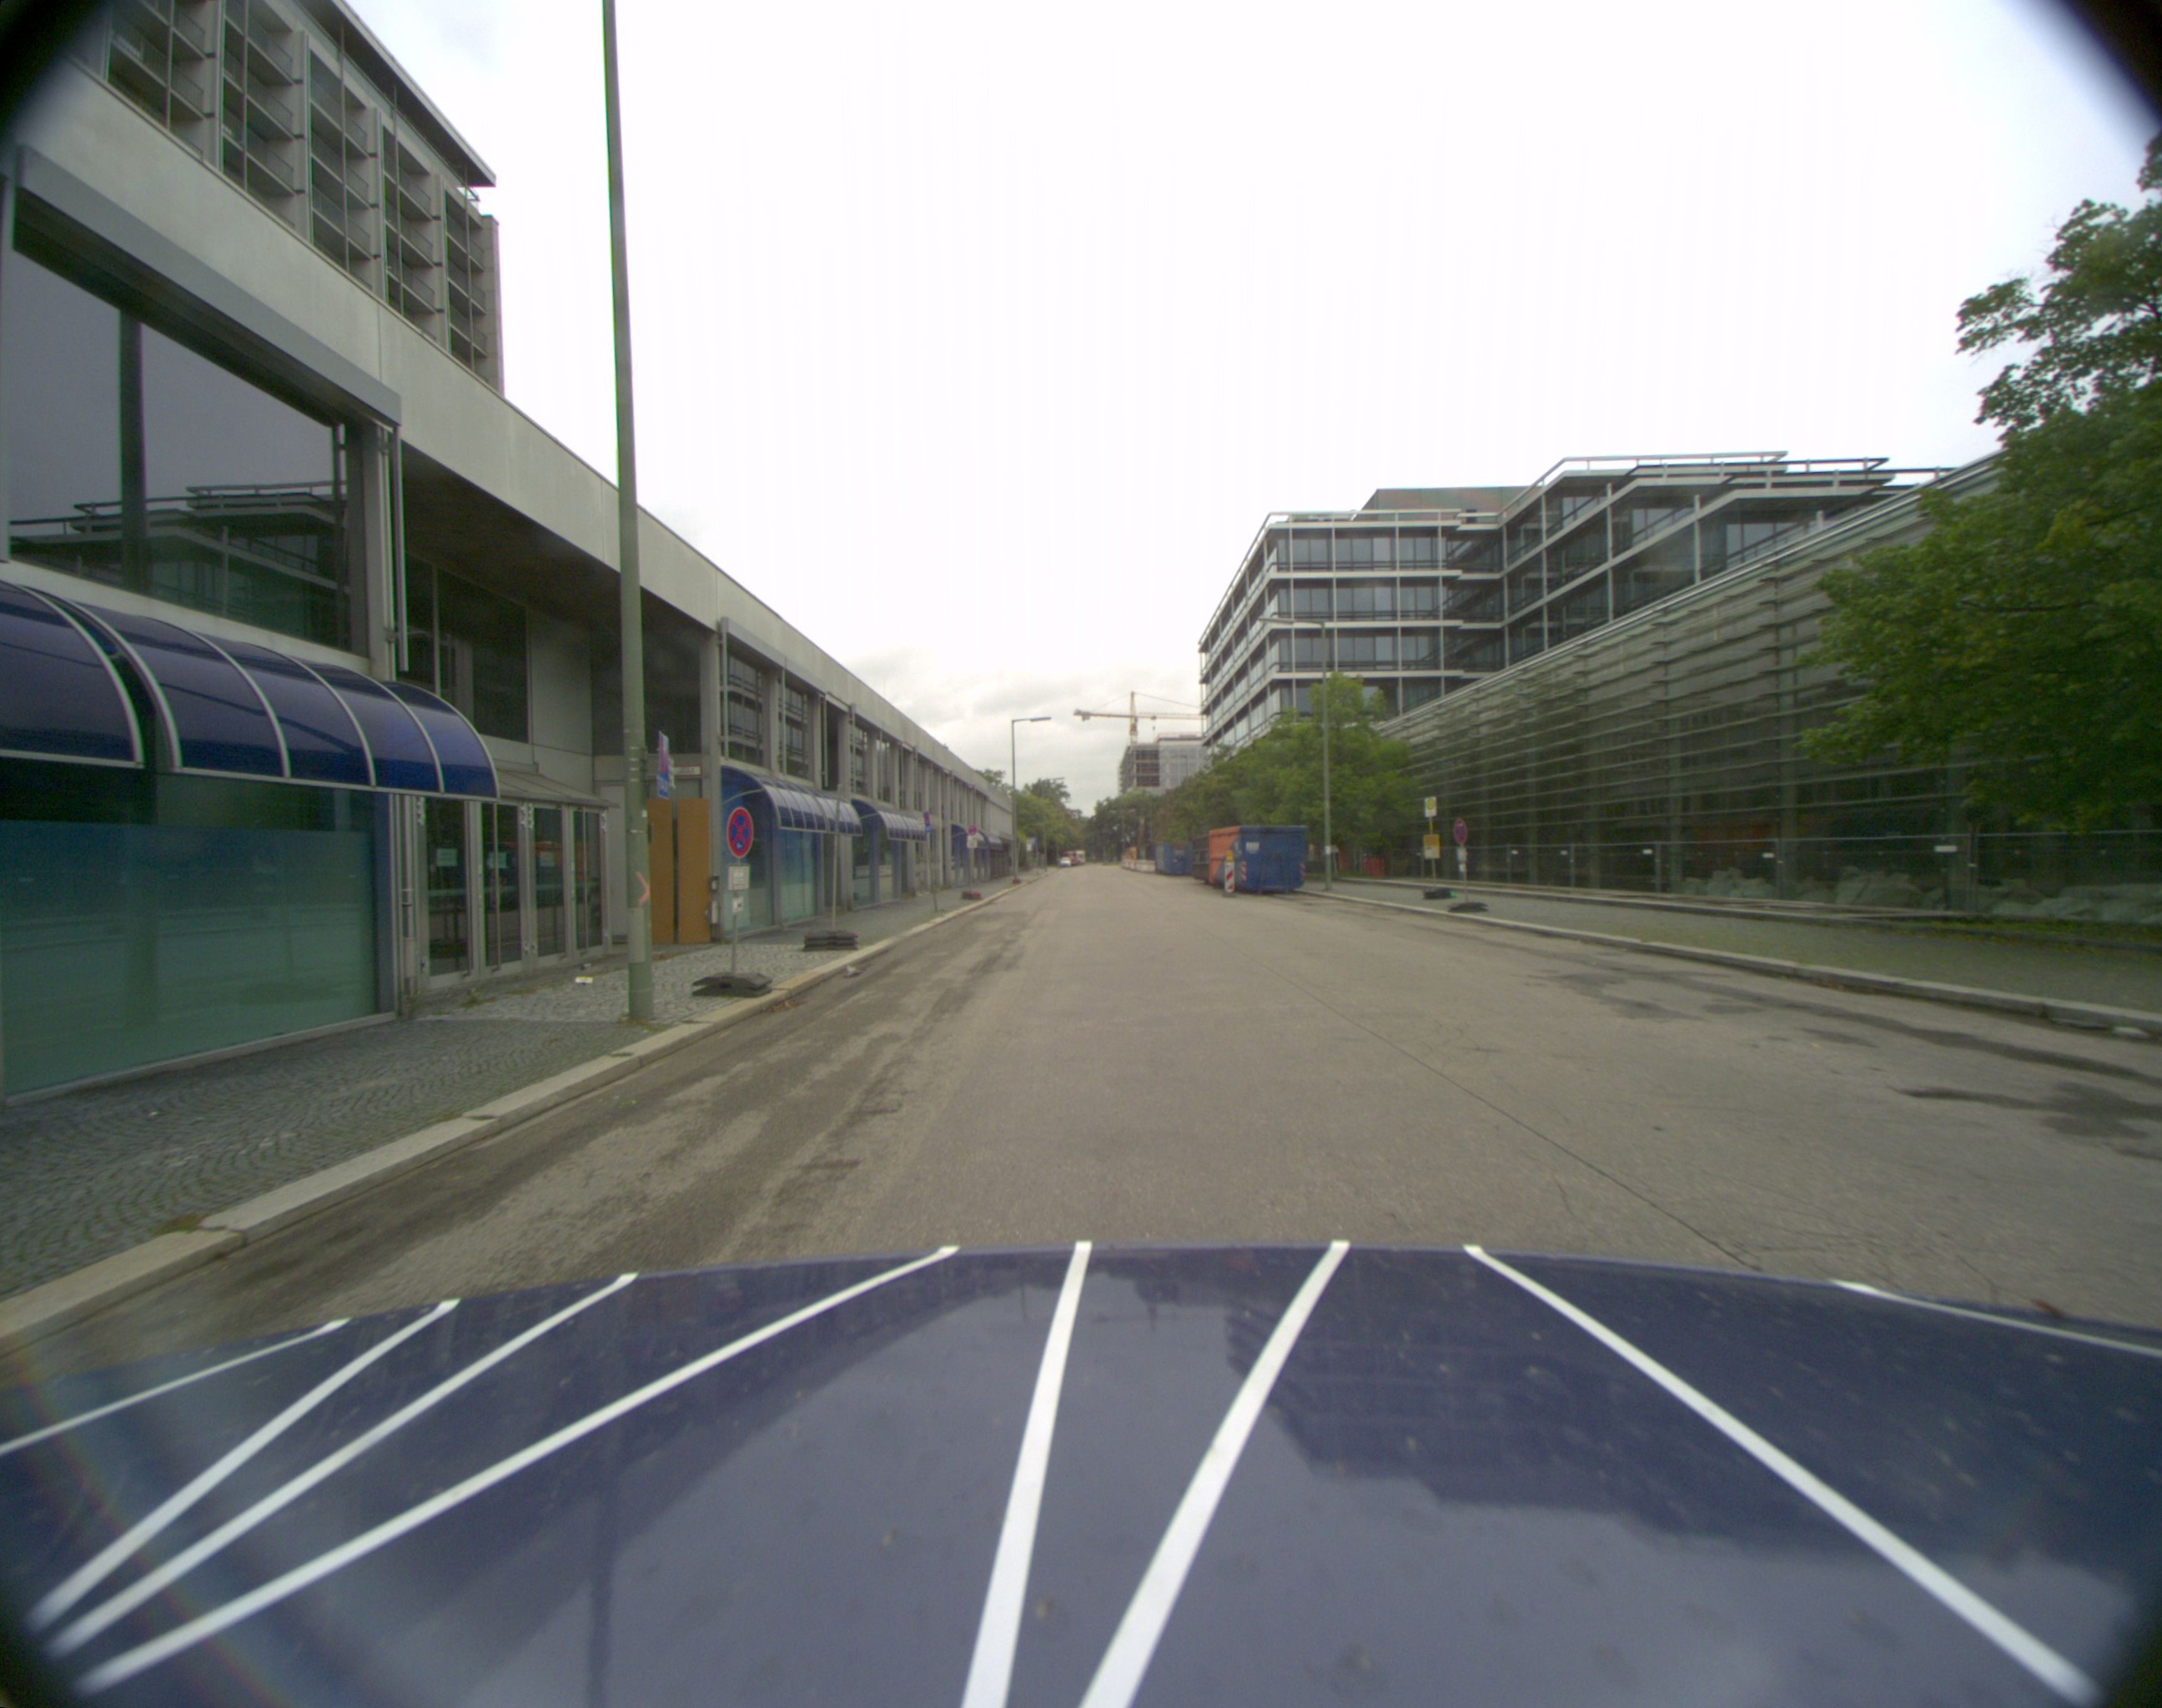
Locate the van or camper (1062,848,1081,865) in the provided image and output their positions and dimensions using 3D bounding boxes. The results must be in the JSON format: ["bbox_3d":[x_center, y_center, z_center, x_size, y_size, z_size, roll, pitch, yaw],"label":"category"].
[{"bbox_3d":[-1.518,0.434,127.276,2.666,2.751,6.916,-1,0,4],"label":"van or camper"}]

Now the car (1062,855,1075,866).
[{"bbox_3d":[-1.953,1.016,121.005,1.912,1.627,4.000,-1,0,2],"label":"car"}]

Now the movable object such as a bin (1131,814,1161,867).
[{"bbox_3d":[8.049,-1.661,94.944,3.241,6.285,8.337,-1,0,3],"label":"movable object such as a bin"}]

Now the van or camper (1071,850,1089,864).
[{"bbox_3d":[-0.190,0.516,141.571,2.666,2.436,6.448,-1,0,6],"label":"van or camper"}]
